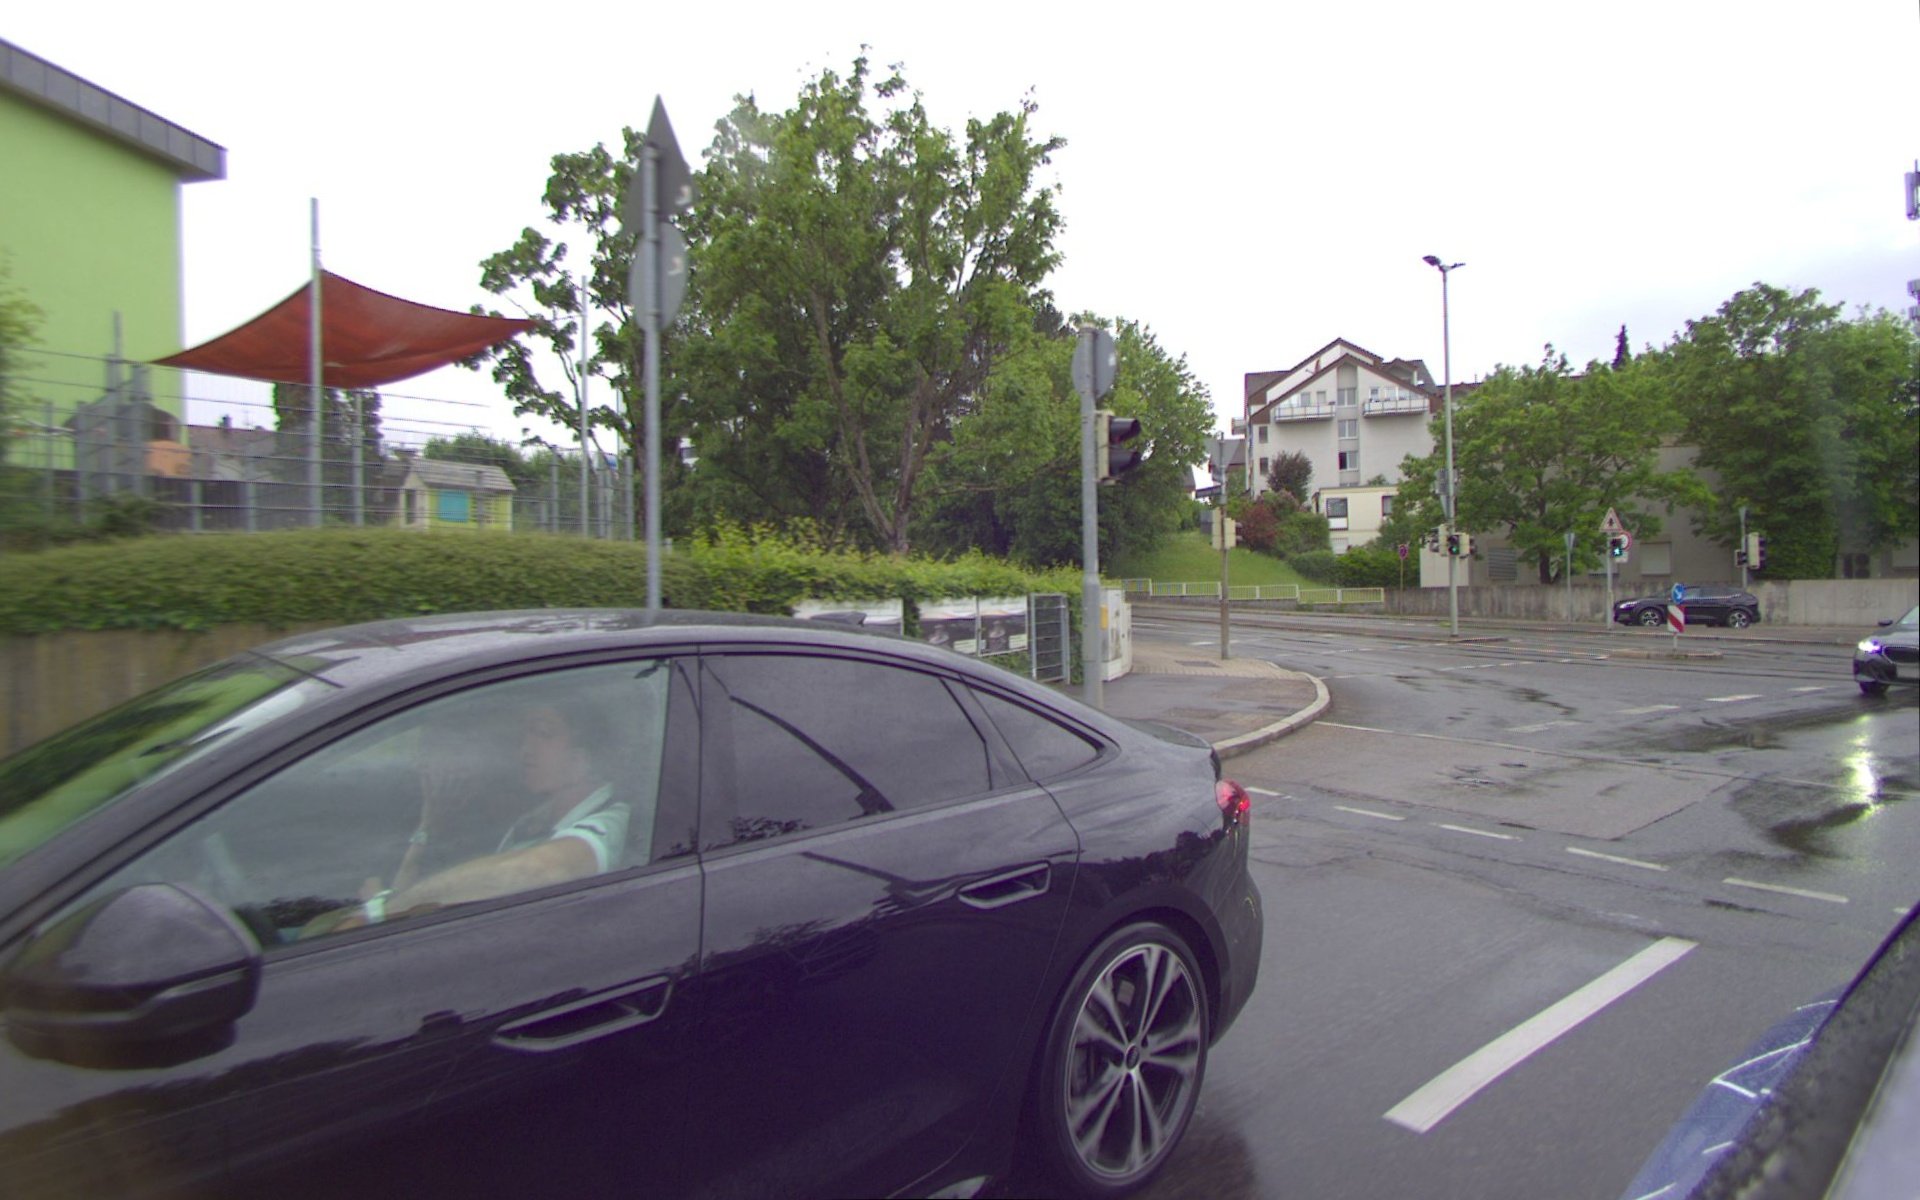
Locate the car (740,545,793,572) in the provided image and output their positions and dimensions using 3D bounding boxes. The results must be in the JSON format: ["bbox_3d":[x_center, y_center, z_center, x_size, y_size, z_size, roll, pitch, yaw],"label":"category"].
[{"bbox_3d":[-14.225,-3.055,74.315,1.967,1.900,4.202,-2,3,-43],"label":"car"}]

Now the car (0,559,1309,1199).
[{"bbox_3d":[-1.342,0.660,2.089,4.658,1.442,1.869,-2,2,-42],"label":"car"}]

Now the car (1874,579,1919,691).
[{"bbox_3d":[15.455,0.468,15.200,3.927,1.538,1.873,-2,1,-37],"label":"car"}]

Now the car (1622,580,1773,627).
[{"bbox_3d":[25.882,0.109,35.656,3.948,1.571,1.684,0,1,19],"label":"car"}]
